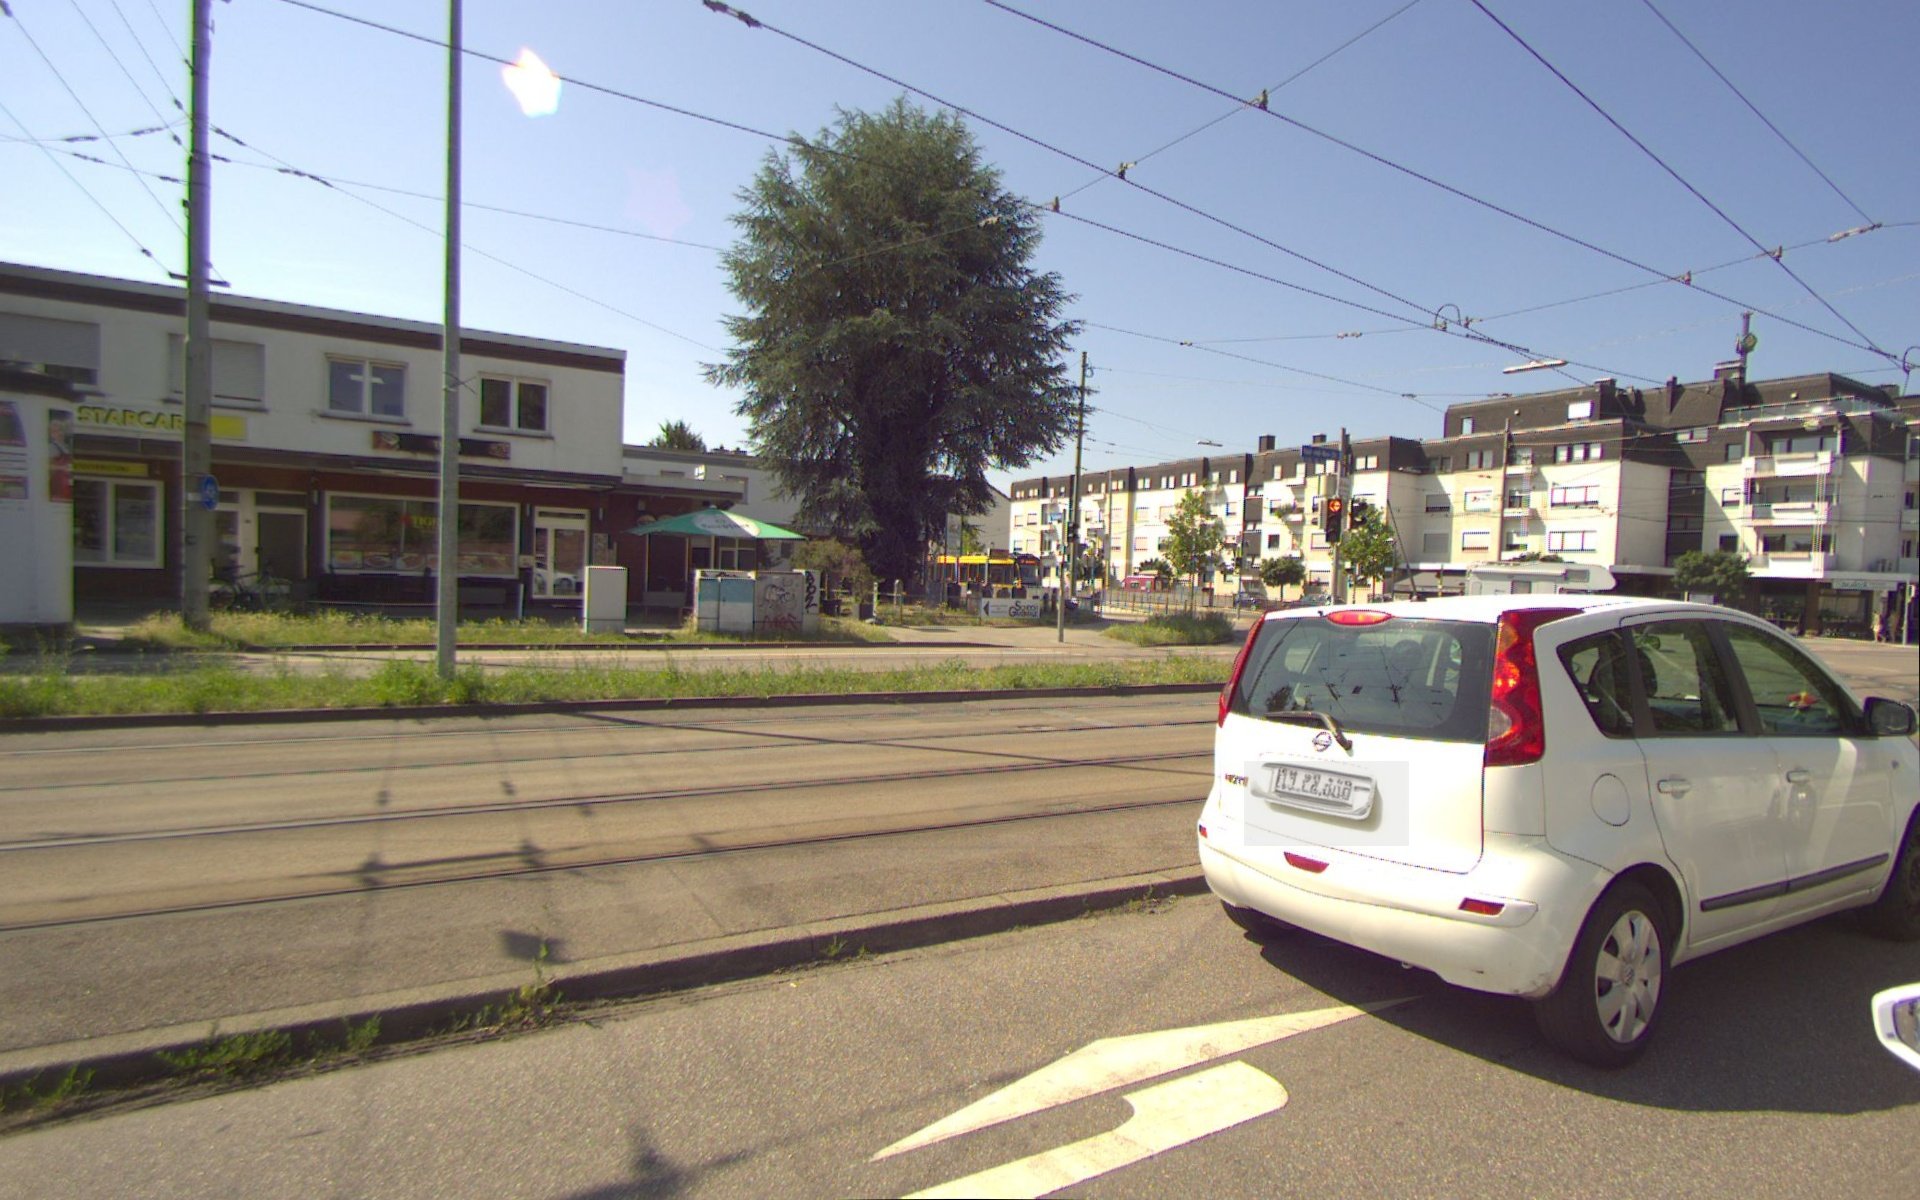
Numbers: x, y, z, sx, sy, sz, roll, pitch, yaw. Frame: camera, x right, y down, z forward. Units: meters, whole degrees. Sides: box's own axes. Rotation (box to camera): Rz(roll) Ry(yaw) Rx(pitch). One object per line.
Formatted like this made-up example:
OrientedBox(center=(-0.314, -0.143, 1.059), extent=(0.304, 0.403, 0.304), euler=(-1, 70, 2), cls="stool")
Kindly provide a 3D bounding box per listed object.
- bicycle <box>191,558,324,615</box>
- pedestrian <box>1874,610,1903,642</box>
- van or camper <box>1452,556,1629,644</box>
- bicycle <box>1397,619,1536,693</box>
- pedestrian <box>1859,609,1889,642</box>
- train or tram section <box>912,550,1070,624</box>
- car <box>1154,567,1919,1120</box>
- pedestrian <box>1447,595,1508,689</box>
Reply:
OrientedBox(center=(-15.514, -0.288, 22.268), extent=(2.306, 1.167, 0.783), euler=(2, -1, -30), cls="bicycle")
OrientedBox(center=(51.728, 1.439, 55.983), extent=(0.957, 1.766, 0.863), euler=(1, -1, 28), cls="pedestrian")
OrientedBox(center=(21.995, -0.001, 38.218), extent=(5.605, 3.133, 2.569), euler=(1, -1, 33), cls="van or camper")
OrientedBox(center=(8.742, 0.937, 17.411), extent=(0.705, 1.105, 1.999), euler=(0, 2, -44), cls="bicycle")
OrientedBox(center=(50.172, 1.399, 55.150), extent=(0.957, 1.766, 0.863), euler=(1, -1, 27), cls="pedestrian")
OrientedBox(center=(2.052, -0.925, 80.433), extent=(4.681, 5.217, 16.121), euler=(2, -1, -30), cls="train or tram section")
OrientedBox(center=(2.854, 0.707, 4.552), extent=(3.759, 1.587, 1.634), euler=(0, 0, -31), cls="car")
OrientedBox(center=(9.205, 0.733, 17.876), extent=(0.671, 1.592, 0.738), euler=(2, 1, -45), cls="pedestrian")
